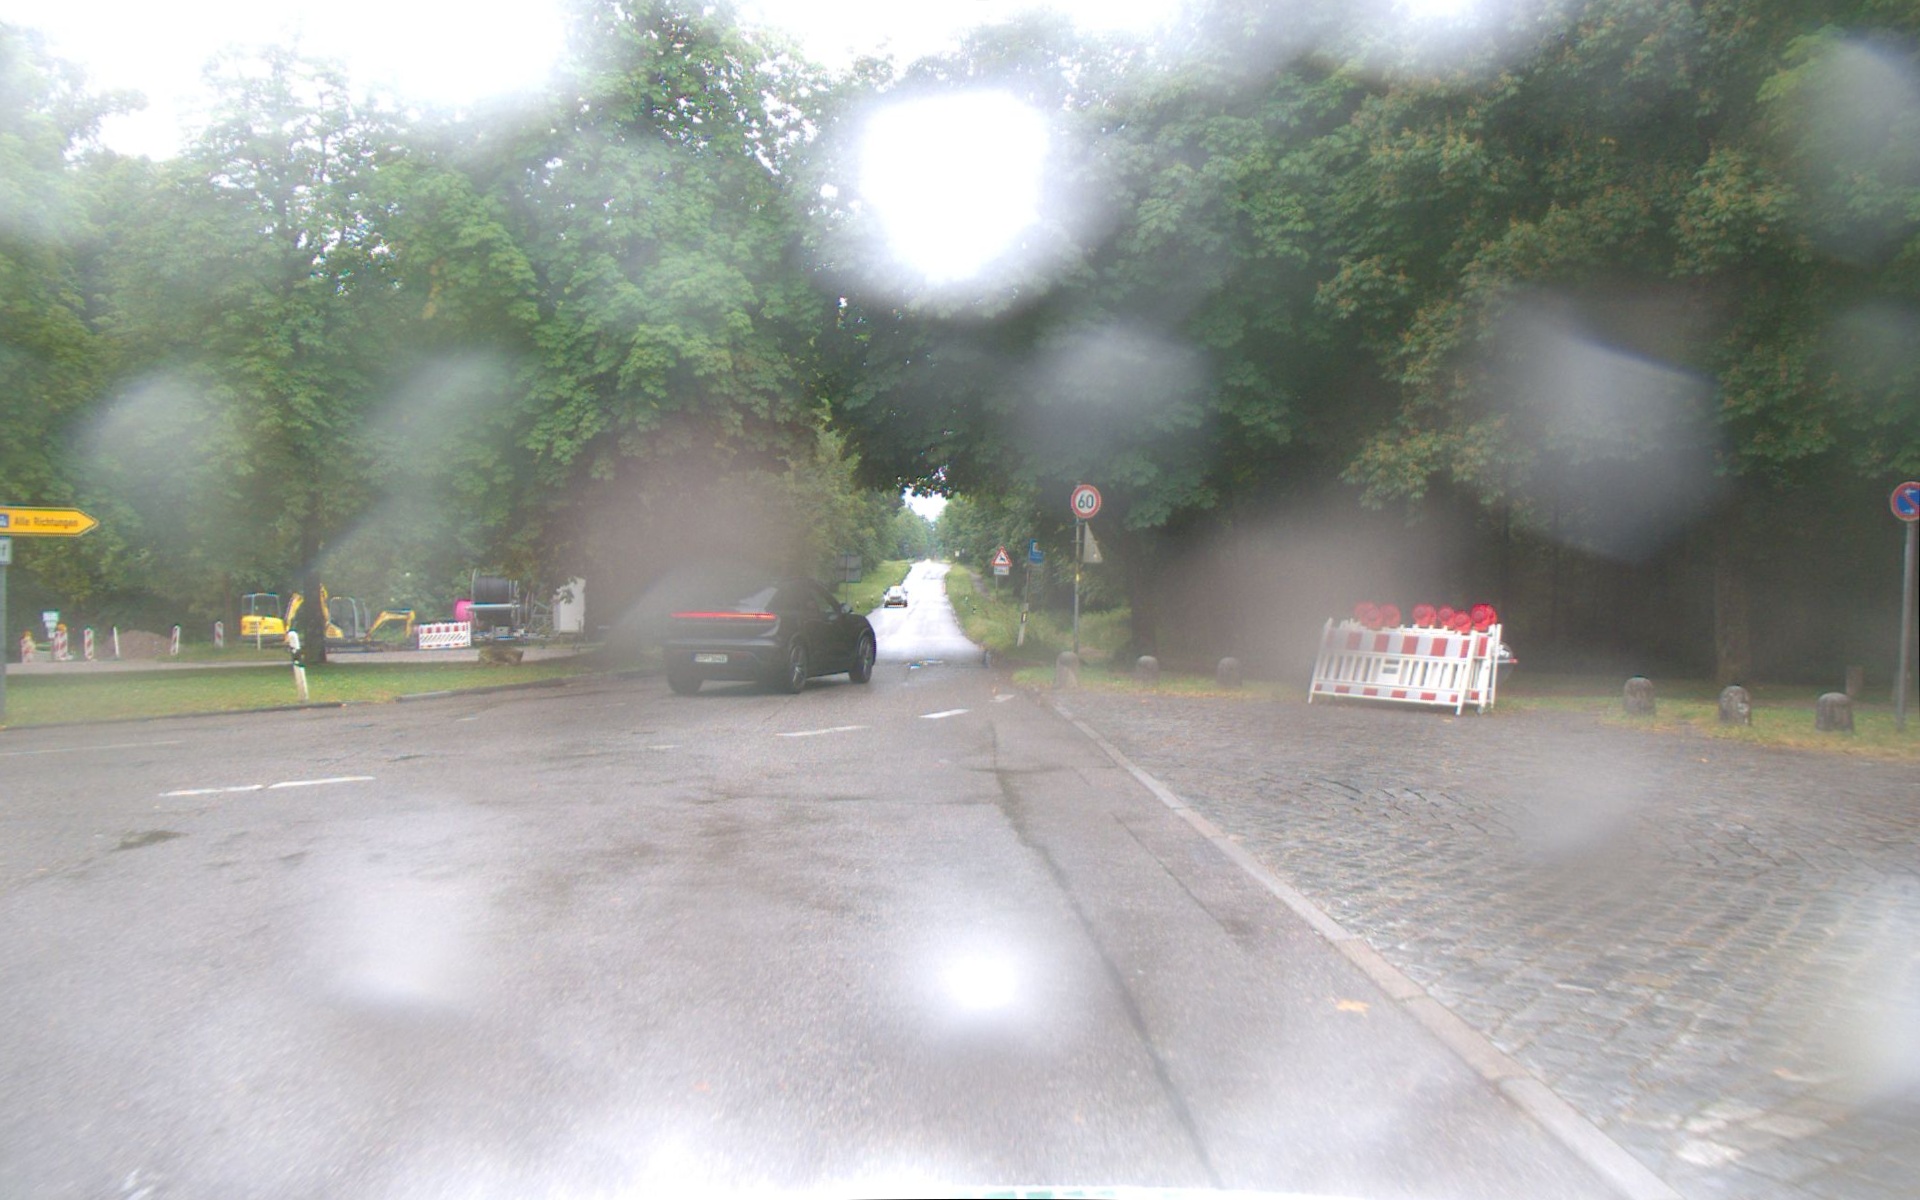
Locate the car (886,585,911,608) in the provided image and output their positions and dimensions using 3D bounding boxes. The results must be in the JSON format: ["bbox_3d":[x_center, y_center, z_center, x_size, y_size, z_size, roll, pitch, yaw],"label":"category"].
[{"bbox_3d":[-4.915,-0.294,132.749,1.953,1.747,3.999,0,0,-1],"label":"car"}]

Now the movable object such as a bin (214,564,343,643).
[{"bbox_3d":[-30.135,0.125,73.365,4.573,3.351,3.902,0,0,-12],"label":"movable object such as a bin"}]

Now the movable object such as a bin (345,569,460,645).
[{"bbox_3d":[-25.246,0.294,75.093,4.501,3.351,3.655,0,0,-12],"label":"movable object such as a bin"}]

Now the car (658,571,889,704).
[{"bbox_3d":[-2.644,0.475,24.634,1.689,1.738,4.578,-1,1,17],"label":"car"}]
